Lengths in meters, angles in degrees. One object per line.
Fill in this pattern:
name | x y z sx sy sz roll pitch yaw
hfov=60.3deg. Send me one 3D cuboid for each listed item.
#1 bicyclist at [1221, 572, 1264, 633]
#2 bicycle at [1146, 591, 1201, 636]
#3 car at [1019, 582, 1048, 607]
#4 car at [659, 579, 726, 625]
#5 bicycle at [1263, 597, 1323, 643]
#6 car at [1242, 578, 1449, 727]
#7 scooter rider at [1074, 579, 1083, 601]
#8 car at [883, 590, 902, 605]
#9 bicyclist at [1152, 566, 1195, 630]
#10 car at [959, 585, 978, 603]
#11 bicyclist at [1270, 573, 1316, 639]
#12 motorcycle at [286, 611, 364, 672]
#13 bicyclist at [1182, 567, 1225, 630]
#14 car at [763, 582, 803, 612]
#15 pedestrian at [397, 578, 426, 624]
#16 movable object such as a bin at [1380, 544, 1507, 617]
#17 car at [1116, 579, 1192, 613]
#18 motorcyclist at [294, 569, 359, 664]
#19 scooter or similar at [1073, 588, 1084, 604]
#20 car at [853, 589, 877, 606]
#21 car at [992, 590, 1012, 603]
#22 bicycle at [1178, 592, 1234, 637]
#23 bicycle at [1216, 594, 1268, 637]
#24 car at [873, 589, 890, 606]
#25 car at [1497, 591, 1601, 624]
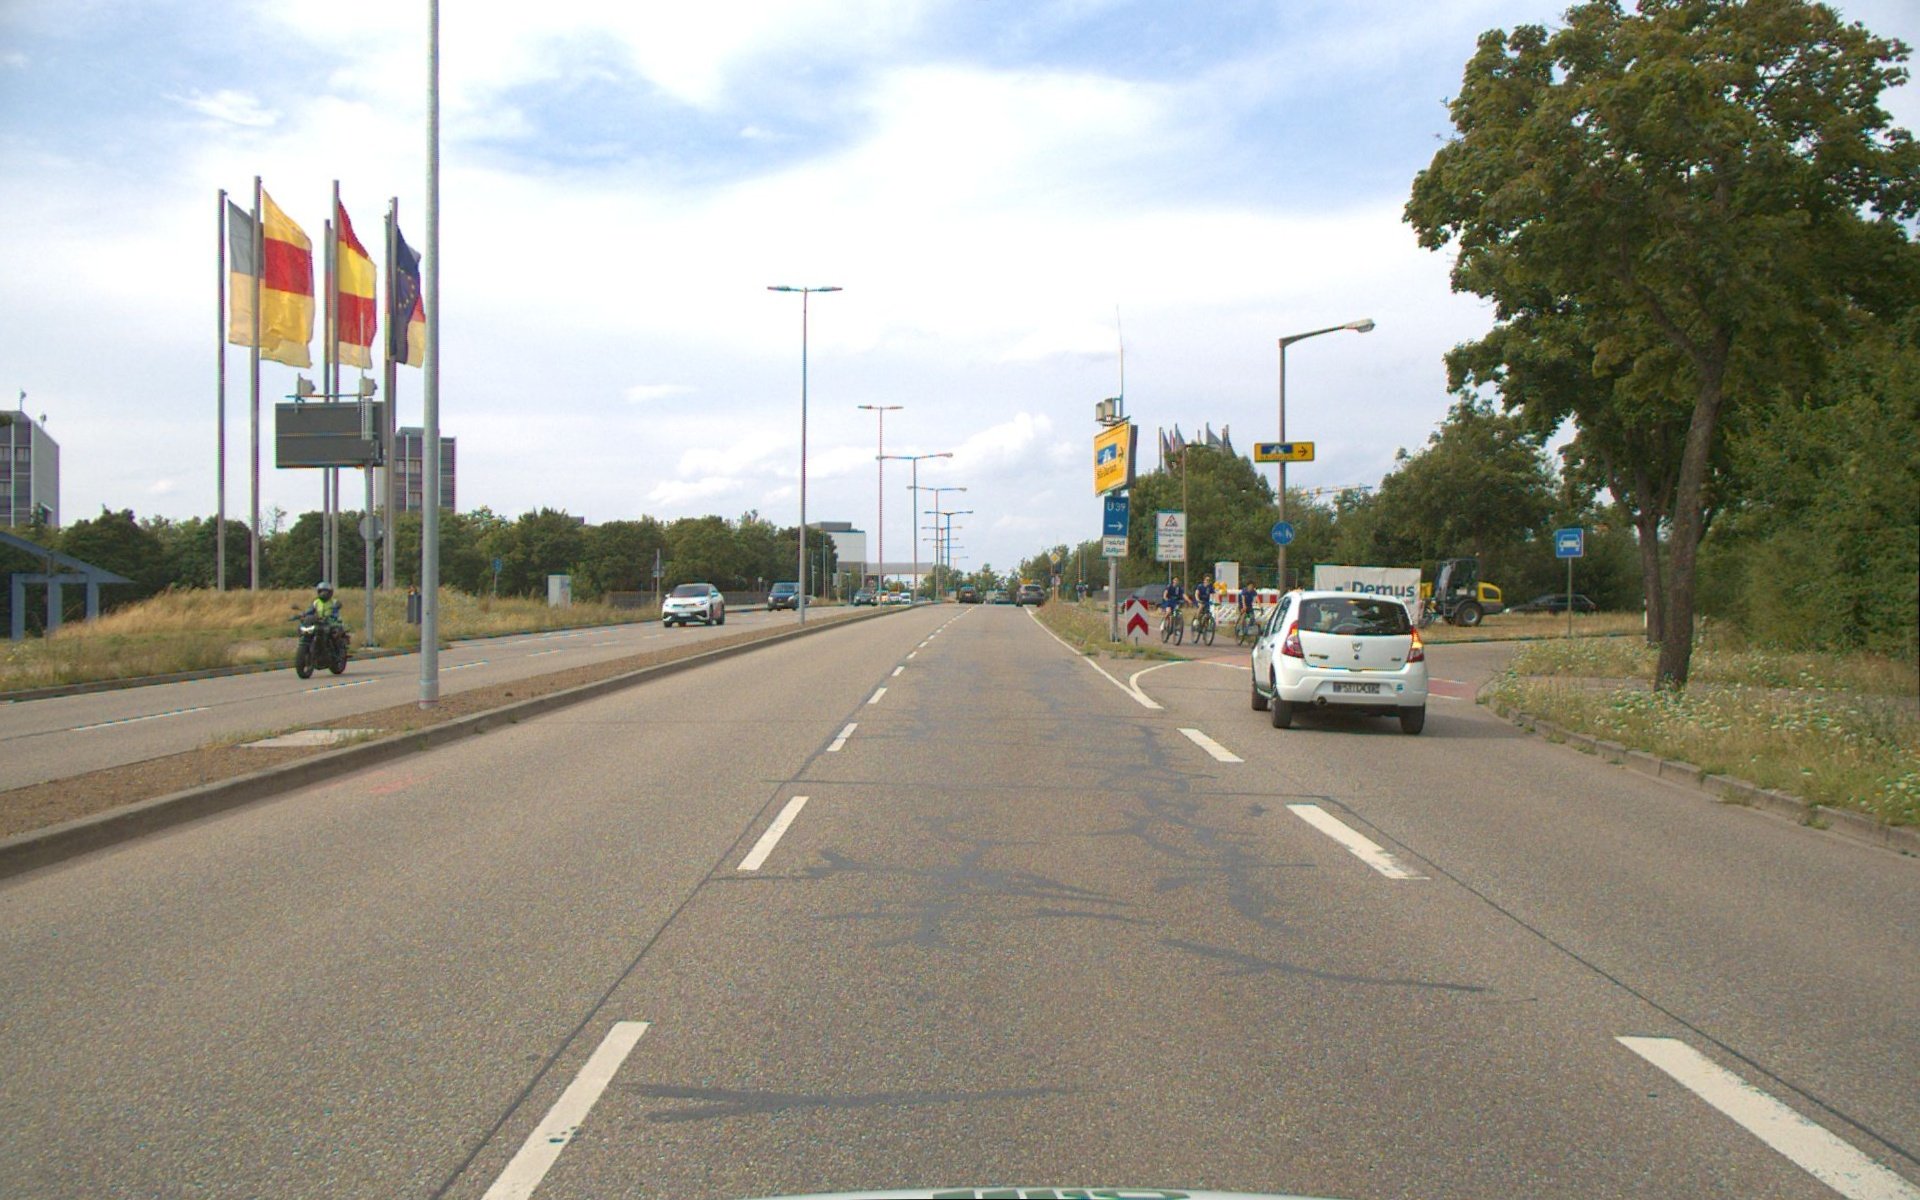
bicyclist | 7.057 0.062 41.389 0.728 1.513 0.955 1 0 -13
bicycle | 5.241 0.314 40.673 0.609 1.023 2.096 3 0 -13
car | 5.283 -0.365 119.058 1.696 1.682 4.112 1 -1 -3
car | -10.365 0.058 64.401 1.809 1.629 4.562 -1 1 0
bicycle | 7.677 0.459 38.188 0.610 1.023 1.780 -2 0 -15
car | 4.460 0.557 19.689 1.808 1.528 4.002 2 0 5
scooter rider | 9.013 -0.752 125.930 0.576 1.720 0.742 1 0 -7
car | -7.605 -0.298 185.536 1.615 1.542 4.018 -2 1 4
bicyclist | 5.245 -0.039 40.648 0.728 1.545 0.955 1 0 -14
car | 0.808 -0.608 160.847 1.694 1.682 4.115 1 -1 2
bicyclist | 7.680 0.144 38.163 0.728 1.499 0.802 1 0 -15
motorcycle | -11.073 0.700 28.913 0.512 0.984 2.219 -1 1 0
bicyclist | 6.084 -0.027 41.323 0.728 1.545 0.955 1 0 -14
car | -11.948 -0.228 112.158 1.809 1.926 5.507 -3 0 2
pedestrian | -20.875 0.028 62.949 0.848 1.722 0.679 -2 0 -1
movable object such as a bin | 18.771 -0.753 64.408 4.406 2.736 2.103 1 0 6
car | 9.973 -0.202 85.216 1.715 1.682 4.066 1 -1 -34
motorcyclist | -11.081 0.275 28.940 0.754 1.616 0.896 -2 0 -1
scooter or similar | 9.009 -0.304 125.976 0.576 1.246 1.201 1 0 -7
car | -8.261 -0.233 144.430 1.727 1.466 4.178 -2 1 1
car | 4.940 -0.418 196.236 1.698 1.553 4.108 1 0 -8
bicycle | 6.101 0.340 41.149 0.585 1.055 2.188 3 0 -13
bicycle | 7.055 0.384 41.430 0.609 1.023 1.781 -2 0 -13
car | -8.068 -0.282 169.881 1.517 1.605 3.691 -2 1 1
car | 26.093 0.321 73.359 4.025 1.419 1.733 -1 1 -9
